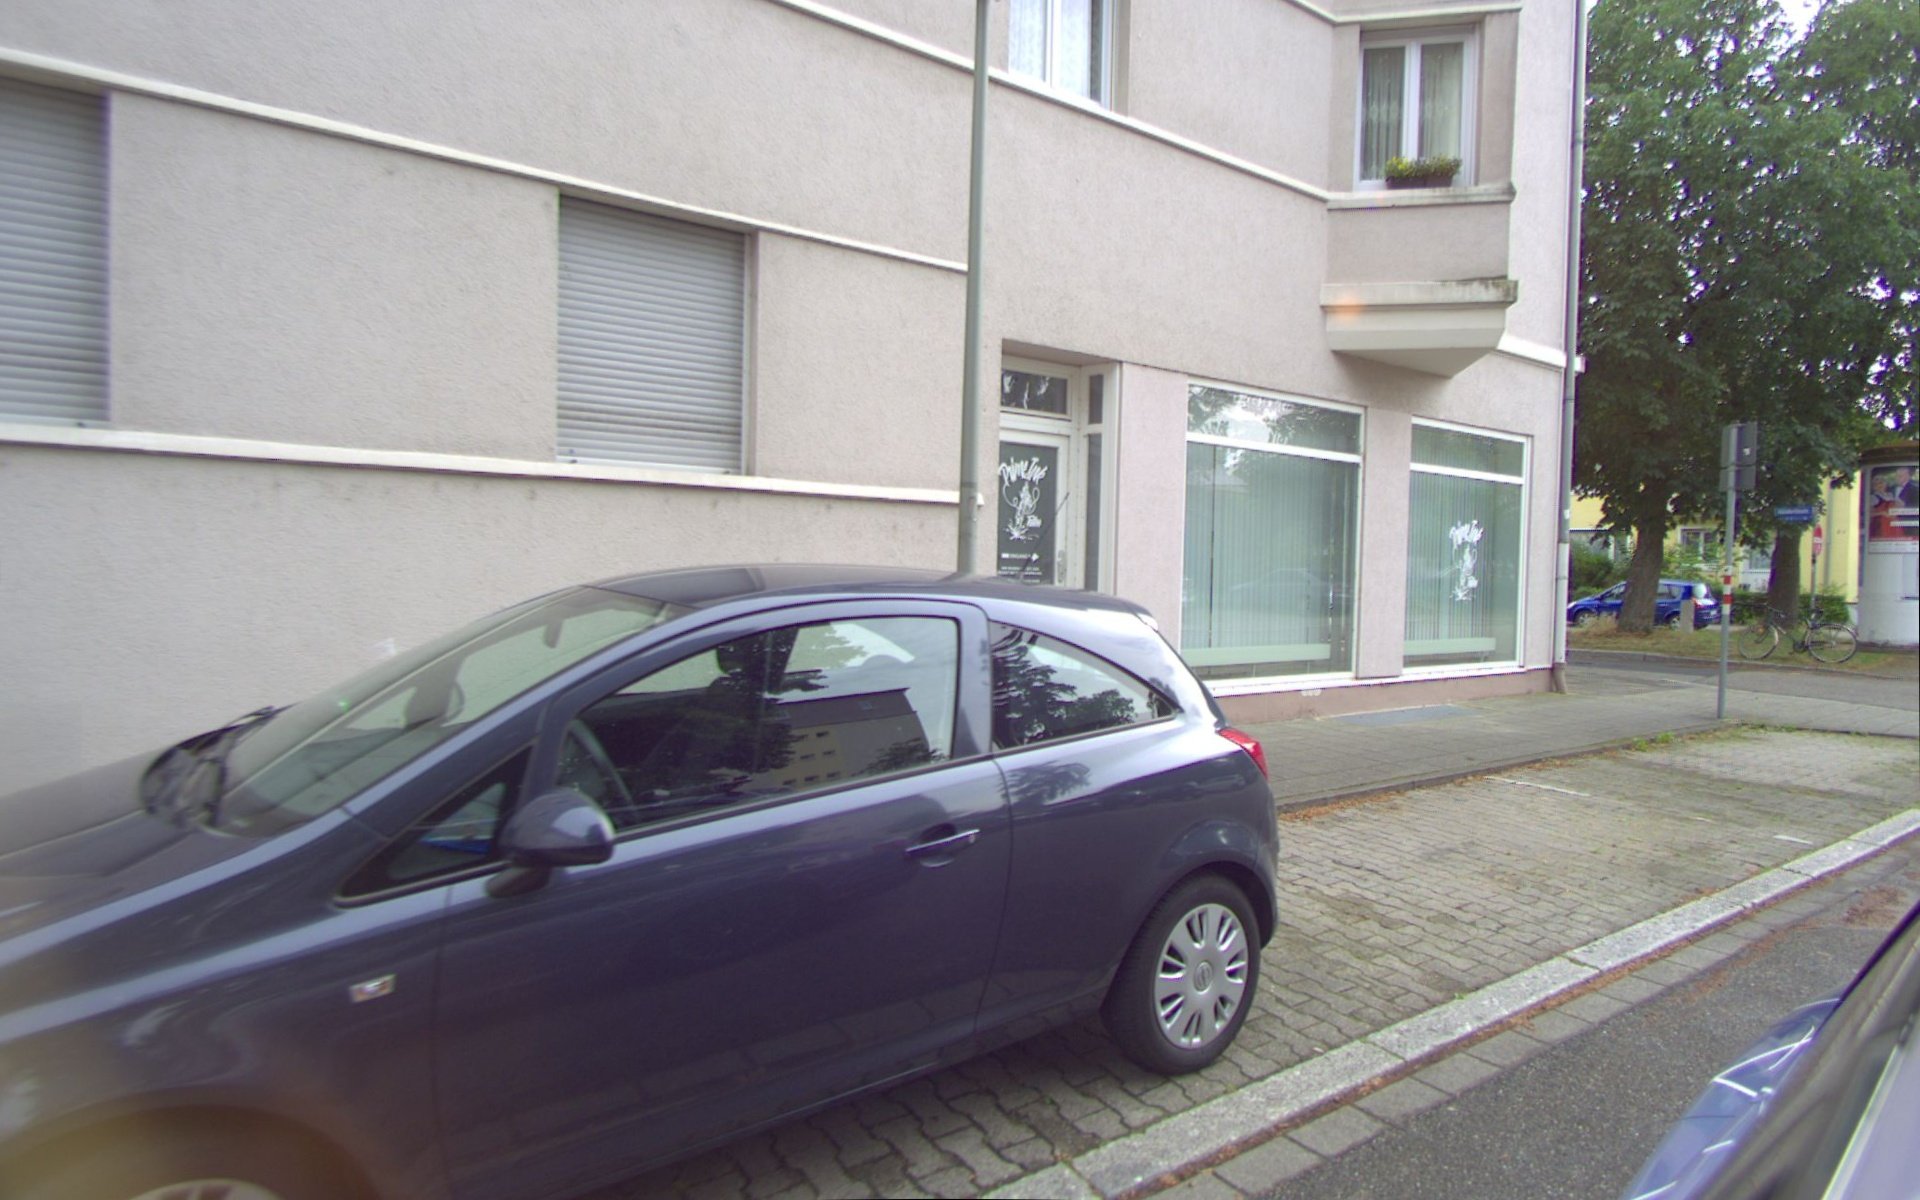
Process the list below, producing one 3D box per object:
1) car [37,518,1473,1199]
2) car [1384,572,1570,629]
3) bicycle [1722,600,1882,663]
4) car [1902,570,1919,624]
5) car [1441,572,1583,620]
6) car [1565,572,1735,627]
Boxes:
[{"bbox_3d":[-0.247,0.572,3.329,3.861,1.508,1.764,-1,2,-33],"label":"car"},{"bbox_3d":[16.194,-0.043,31.929,1.868,1.585,4.880,0,2,-39],"label":"car"},{"bbox_3d":[15.299,0.542,18.448,0.503,0.997,2.179,-3,4,-41],"label":"bicycle"},{"bbox_3d":[30.774,-0.072,31.269,3.927,1.630,1.842,0,2,-38],"label":"car"},{"bbox_3d":[19.686,-0.191,36.257,1.689,1.518,4.163,-4,4,-39],"label":"car"},{"bbox_3d":[22.188,-0.084,32.687,1.673,1.585,4.212,-2,3,-35],"label":"car"}]
